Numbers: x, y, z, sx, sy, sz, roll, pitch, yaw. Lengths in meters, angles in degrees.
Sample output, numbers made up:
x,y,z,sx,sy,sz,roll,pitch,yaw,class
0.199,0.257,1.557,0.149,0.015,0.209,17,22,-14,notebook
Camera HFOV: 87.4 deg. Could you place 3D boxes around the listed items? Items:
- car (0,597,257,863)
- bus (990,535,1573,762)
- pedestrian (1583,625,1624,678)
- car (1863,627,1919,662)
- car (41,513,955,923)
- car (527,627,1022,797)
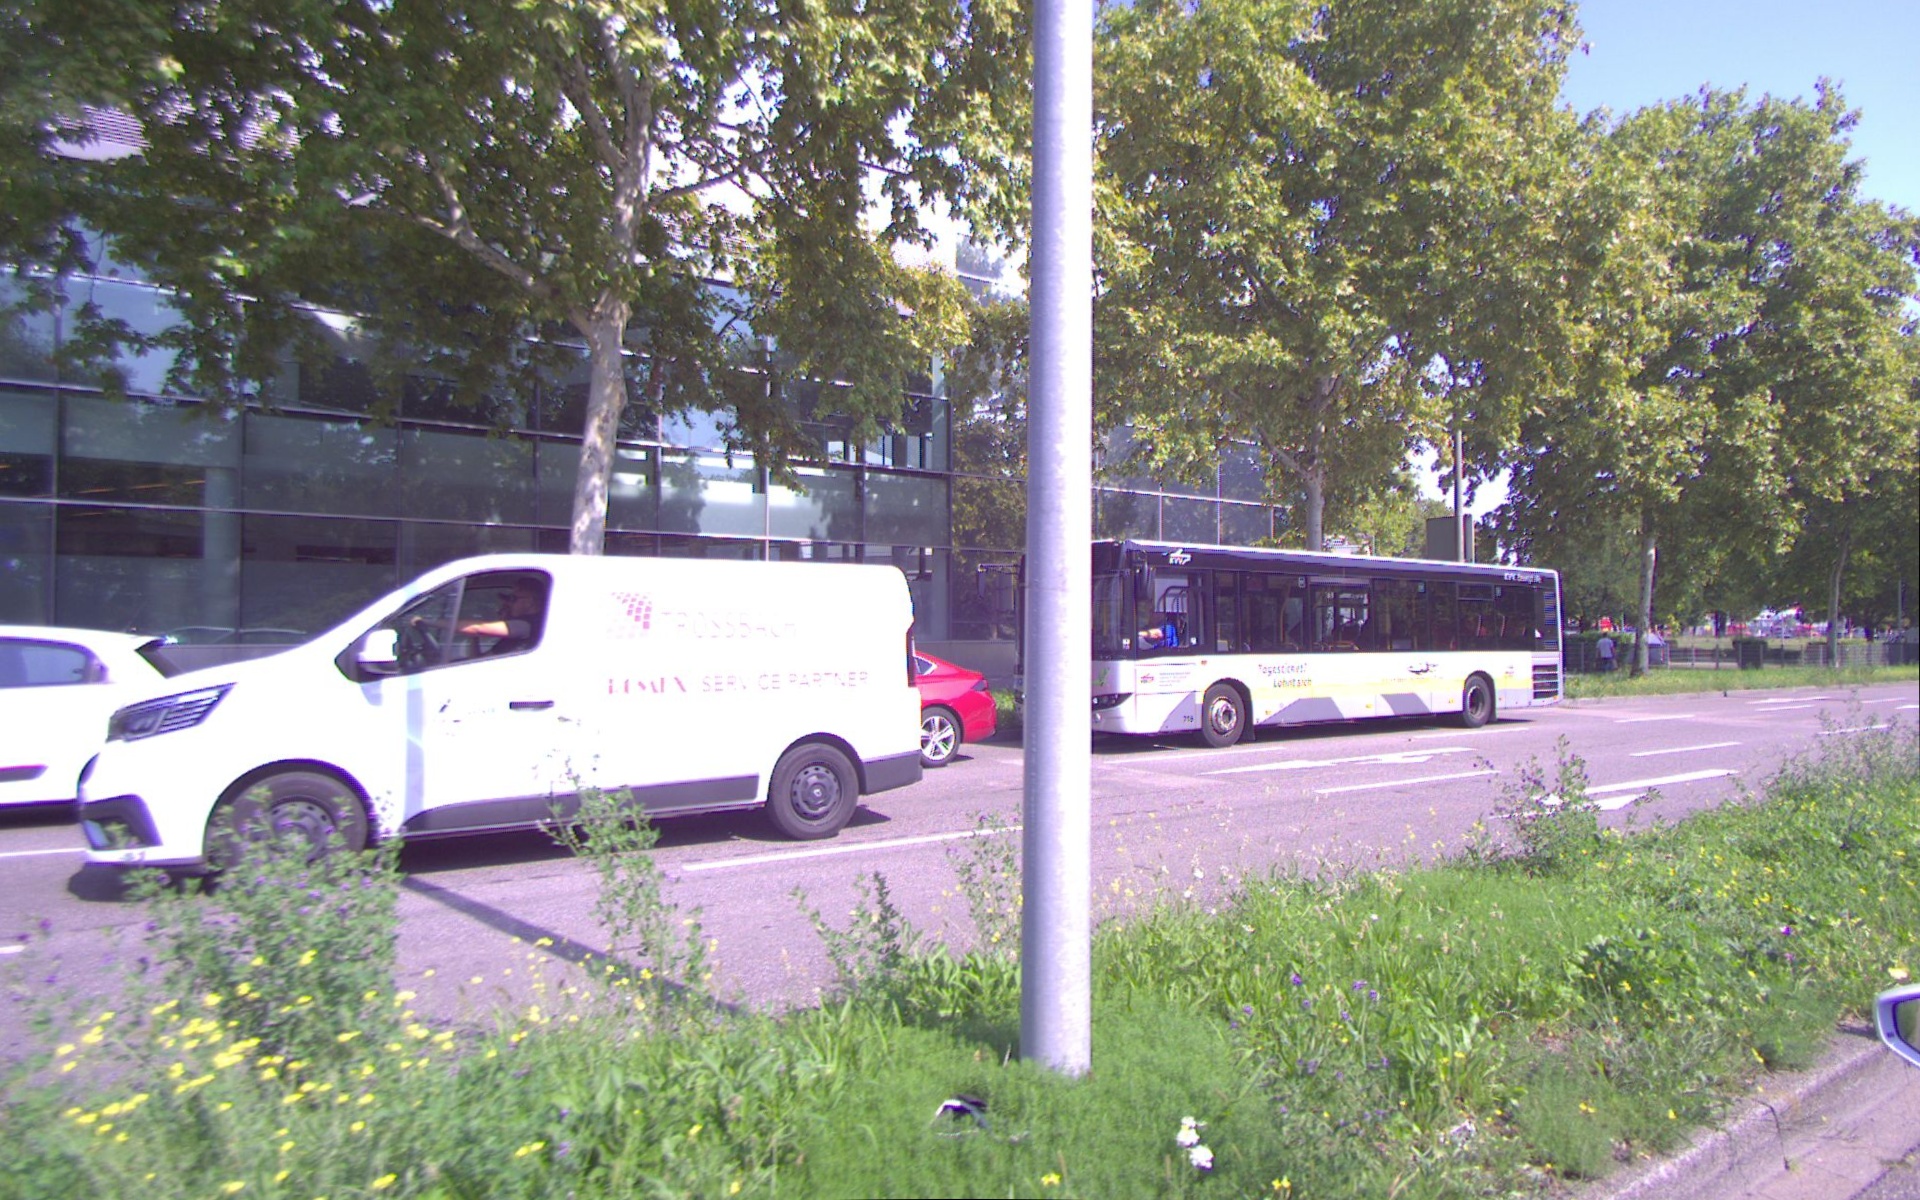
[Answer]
x,y,z,sx,sy,sz,roll,pitch,yaw,class
-7.933,0.975,7.792,3.934,1.920,1.916,2,-4,-33,car
5.662,0.808,16.134,10.787,2.729,2.648,2,-4,-33,bus
26.293,2.087,41.046,0.995,2.041,1.269,0,1,11,pedestrian
71.320,3.346,74.871,2.254,2.369,5.552,-1,1,-33,car
-2.716,0.681,7.040,5.130,1.986,1.918,2,-4,-31,car
-1.903,1.143,11.207,5.156,1.530,1.770,2,-4,-32,car
